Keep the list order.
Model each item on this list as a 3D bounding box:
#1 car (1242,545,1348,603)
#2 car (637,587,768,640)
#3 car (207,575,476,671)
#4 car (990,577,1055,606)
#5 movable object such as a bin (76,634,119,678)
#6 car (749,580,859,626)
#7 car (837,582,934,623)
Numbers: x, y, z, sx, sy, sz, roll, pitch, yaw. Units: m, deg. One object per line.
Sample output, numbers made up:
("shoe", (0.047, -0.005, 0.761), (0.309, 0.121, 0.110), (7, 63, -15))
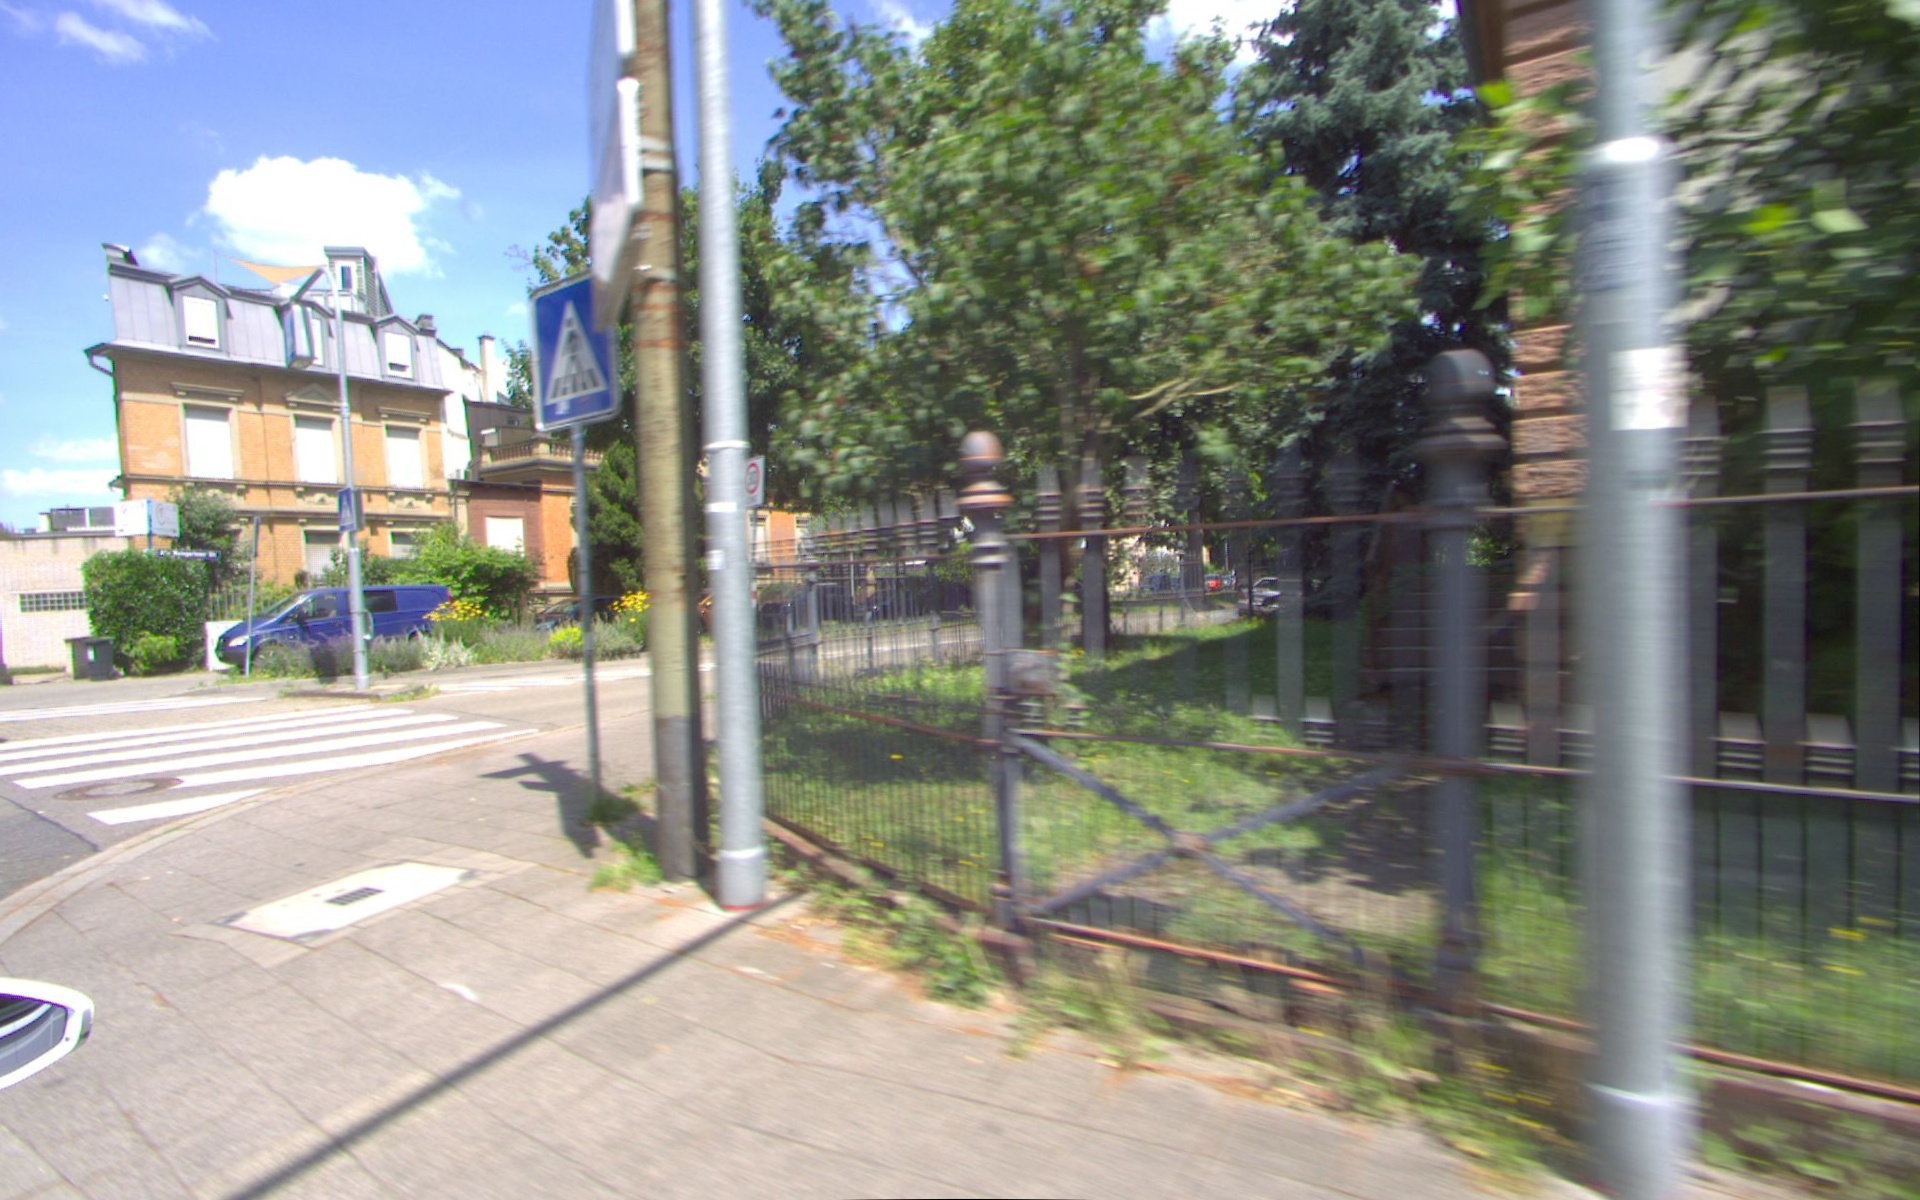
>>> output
("car", (9.862, -0.755, 29.333), (1.588, 1.573, 3.698), (3, 3, 42))
("car", (-8.800, 0.448, 34.587), (1.836, 1.611, 4.219), (-4, -2, 33))
("car", (-15.048, 0.465, 24.641), (2.059, 1.974, 5.197), (0, 2, 41))
("car", (3.413, -0.448, 54.155), (1.494, 1.411, 4.434), (-4, -2, 33))
("movable object such as a bin", (-18.676, 1.211, 21.686), (0.549, 0.928, 0.420), (-3, -1, 8))
("car", (-6.002, 0.125, 38.884), (1.836, 1.611, 4.219), (-4, -2, 33))
("car", (-3.175, 0.103, 43.423), (1.836, 1.611, 4.434), (-4, -2, 33))
